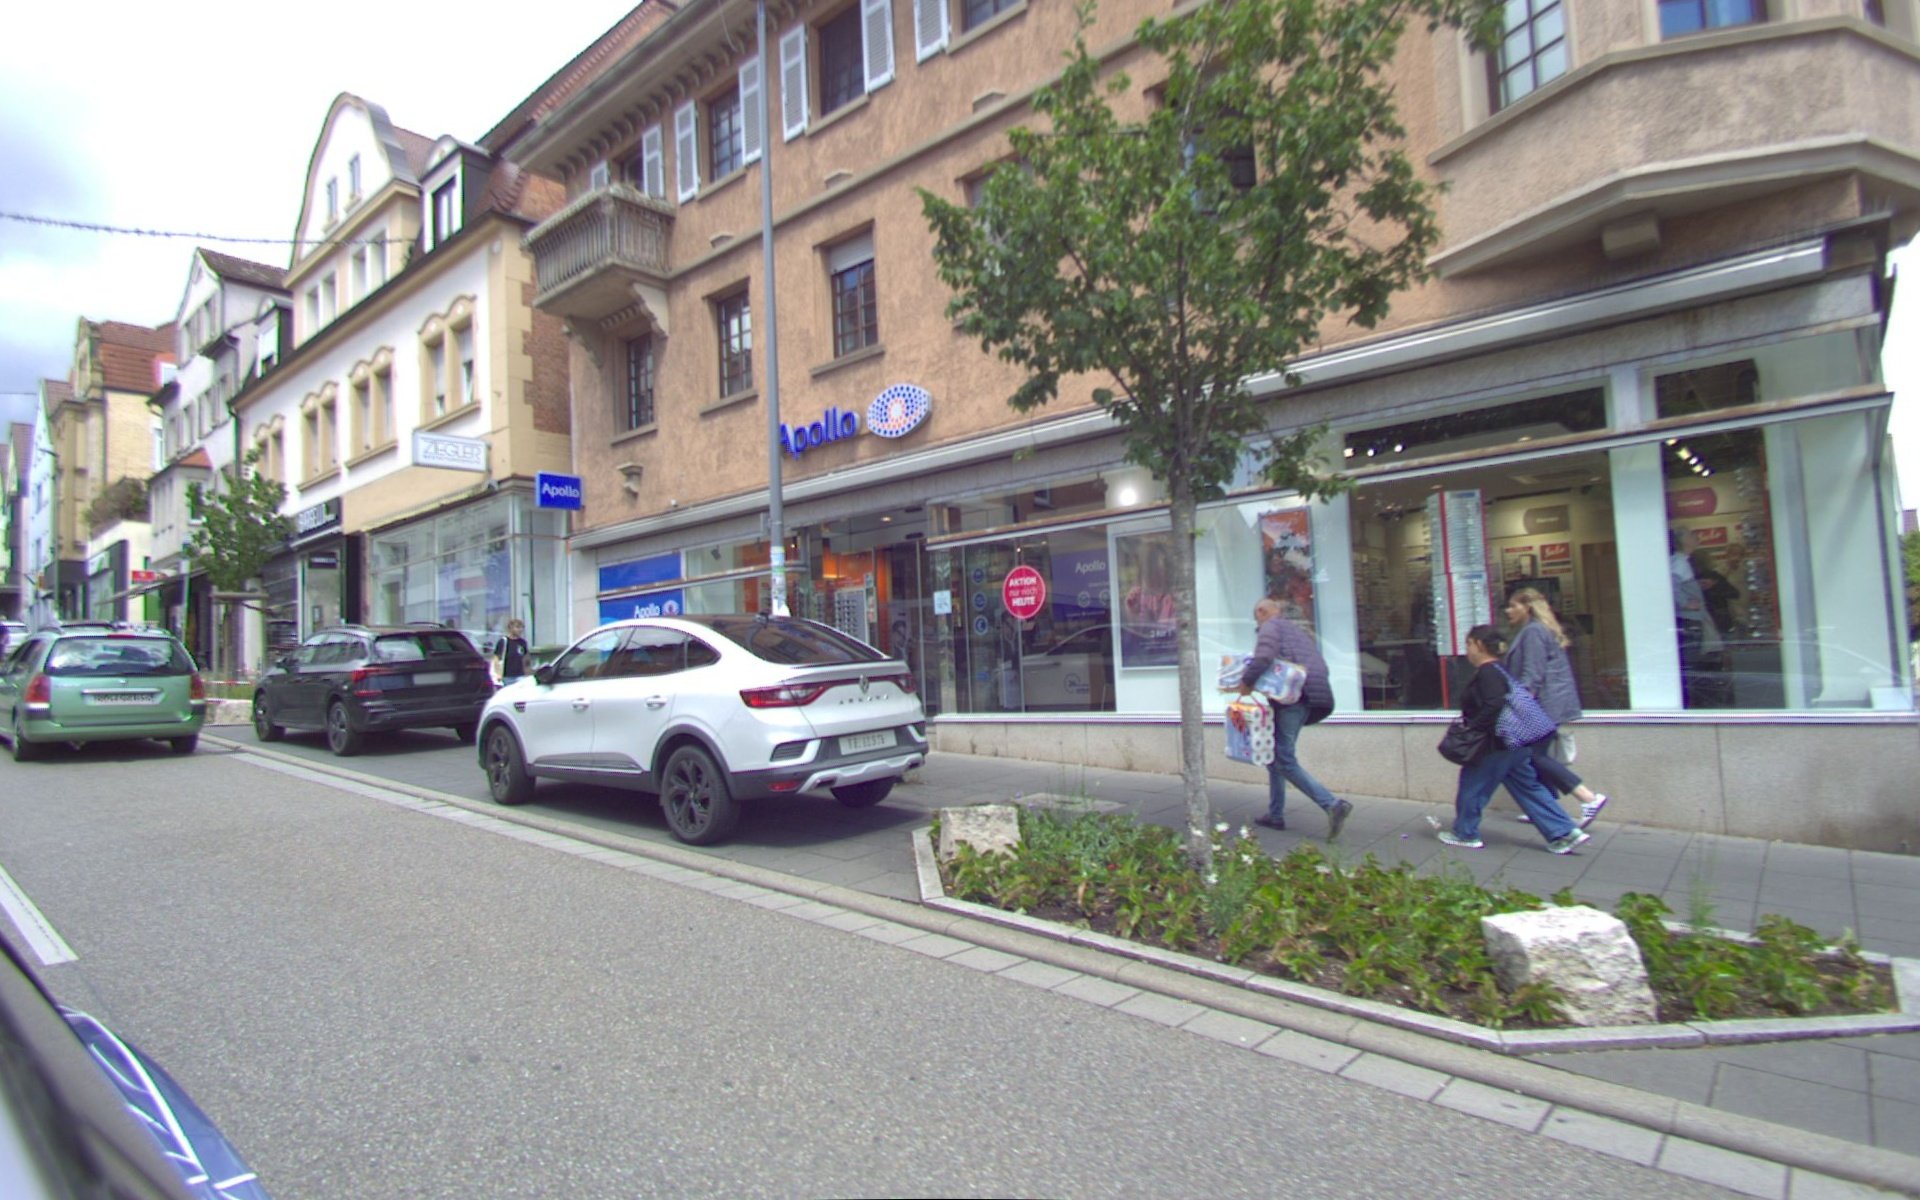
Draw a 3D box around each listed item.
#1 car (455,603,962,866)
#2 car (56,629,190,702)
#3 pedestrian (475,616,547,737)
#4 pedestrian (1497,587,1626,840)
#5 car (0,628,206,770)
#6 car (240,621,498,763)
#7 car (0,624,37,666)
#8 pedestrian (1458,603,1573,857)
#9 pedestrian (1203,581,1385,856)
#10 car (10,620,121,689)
[{"bbox_3d":[-2.235,0.864,8.218,4.451,1.585,1.708,-1,-2,40],"label":"car"},{"bbox_3d":[-18.207,1.351,21.967,3.502,1.442,1.709,-1,-2,41],"label":"car"},{"bbox_3d":[-6.163,1.028,13.895,0.650,1.585,0.621,-2,1,41],"label":"pedestrian"},{"bbox_3d":[4.061,0.724,6.835,0.641,1.594,0.607,-2,-2,39],"label":"pedestrian"},{"bbox_3d":[-11.112,1.120,12.802,4.151,1.512,1.664,-2,-3,41],"label":"car"},{"bbox_3d":[-7.798,1.081,13.211,3.960,1.538,1.647,-1,0,40],"label":"car"},{"bbox_3d":[-36.546,1.699,38.526,3.528,1.536,1.668,-1,-2,41],"label":"car"},{"bbox_3d":[3.466,0.771,6.314,0.528,1.489,0.491,-2,-2,39],"label":"pedestrian"},{"bbox_3d":[2.261,0.738,6.836,0.906,1.679,0.861,-2,-2,39],"label":"pedestrian"},{"bbox_3d":[-23.660,1.379,26.723,3.990,1.692,1.709,-1,-2,41],"label":"car"}]
